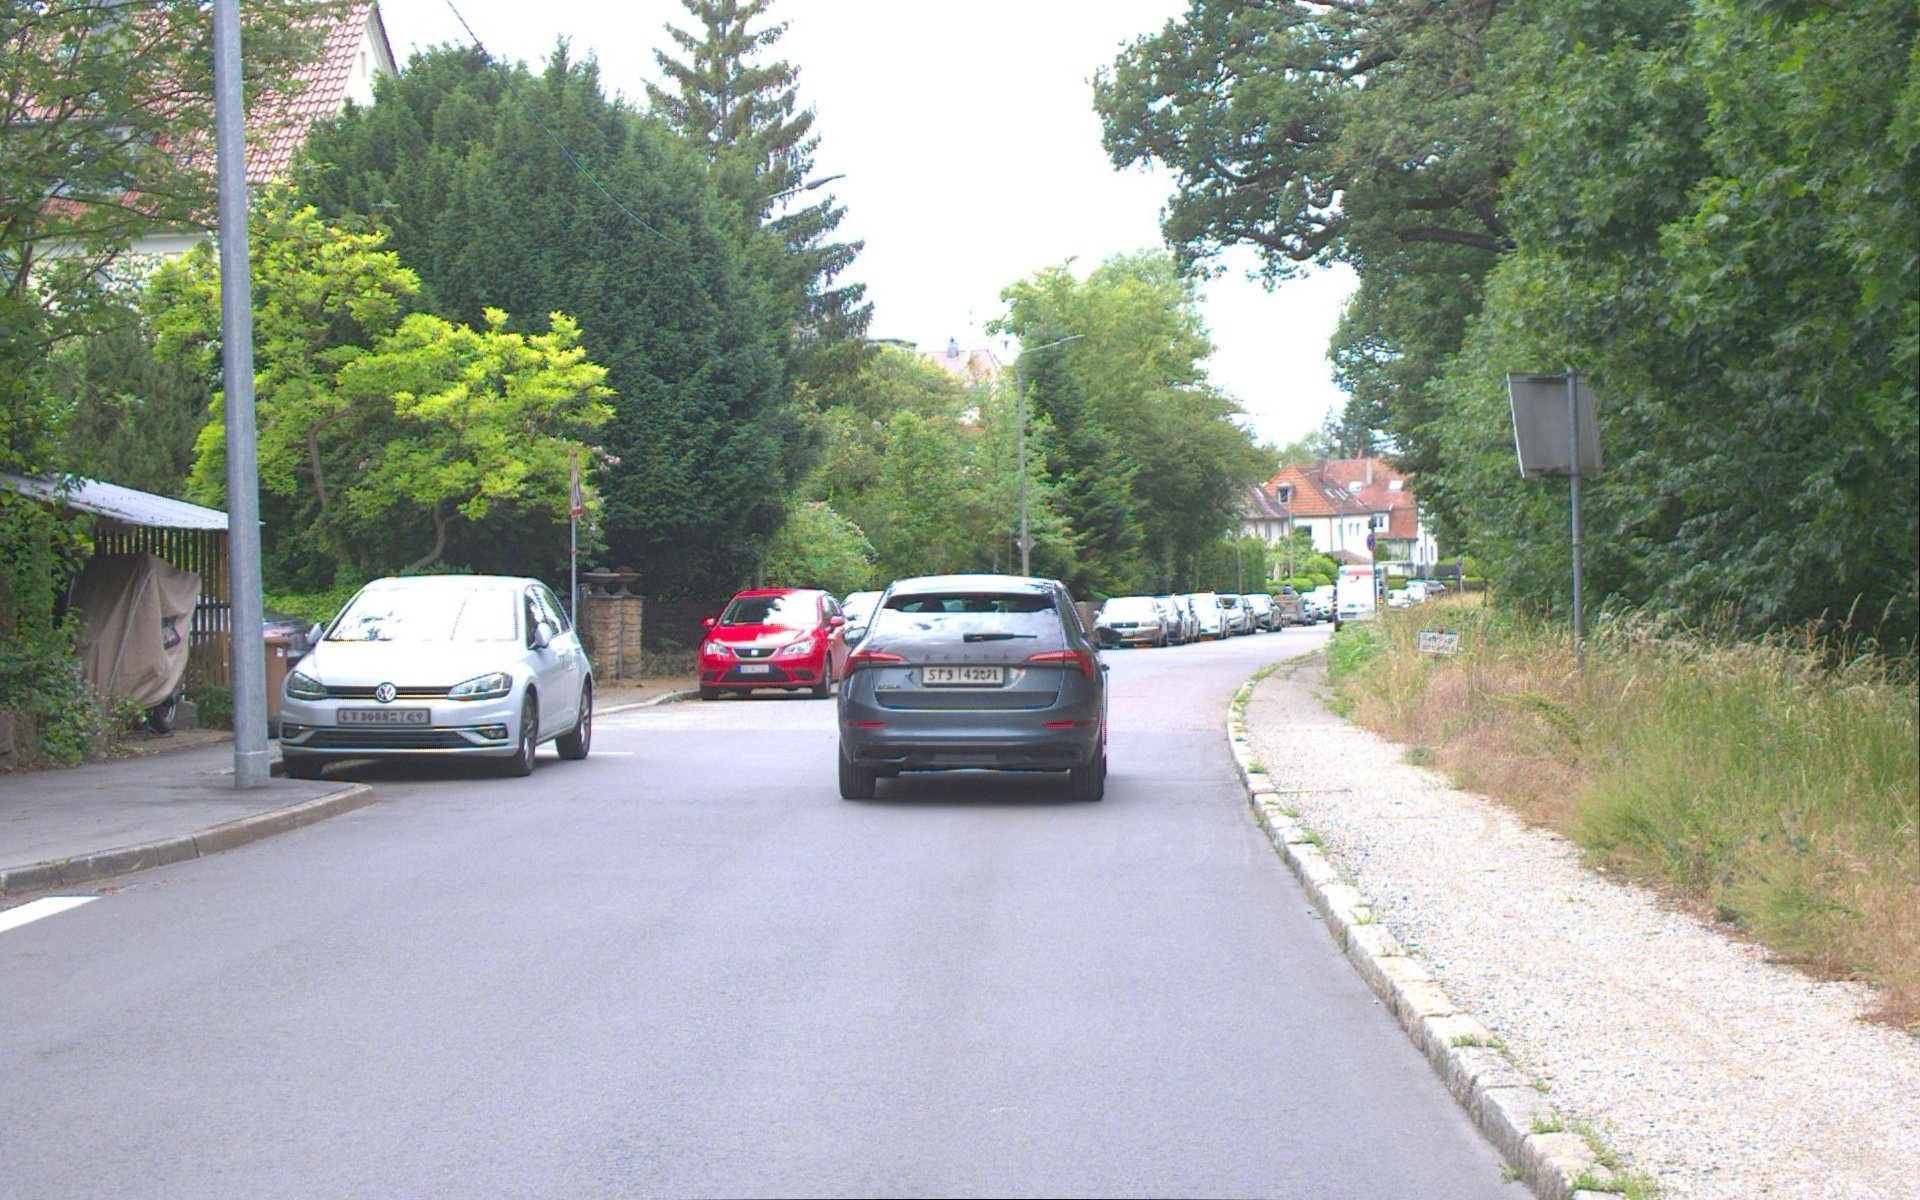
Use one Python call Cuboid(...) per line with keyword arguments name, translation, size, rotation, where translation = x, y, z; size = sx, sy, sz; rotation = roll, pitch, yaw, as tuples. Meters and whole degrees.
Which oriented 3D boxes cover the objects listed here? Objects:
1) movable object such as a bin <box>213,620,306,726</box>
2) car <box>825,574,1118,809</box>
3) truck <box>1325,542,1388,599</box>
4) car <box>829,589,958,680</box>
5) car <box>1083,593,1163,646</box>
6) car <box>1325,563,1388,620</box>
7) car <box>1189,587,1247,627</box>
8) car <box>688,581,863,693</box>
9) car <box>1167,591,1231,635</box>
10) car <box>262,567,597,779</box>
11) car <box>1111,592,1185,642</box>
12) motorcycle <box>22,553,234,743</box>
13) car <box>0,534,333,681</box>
Cuboid(name="movable object such as a bin", translation=(-6.182, 0.638, 30.370), size=(0.591, 0.906, 0.700), rotation=(0, 0, 9))
Cuboid(name="car", translation=(0.164, 0.553, 23.420), size=(1.735, 1.442, 4.180), rotation=(0, 0, 4))
Cuboid(name="truck", translation=(19.906, -1.483, 172.190), size=(2.764, 2.784, 9.265), rotation=(0, 1, 9))
Cuboid(name="car", translation=(-1.042, 0.527, 55.634), size=(1.749, 1.400, 3.999), rotation=(0, 0, 4))
Cuboid(name="car", translation=(4.449, 0.518, 93.549), size=(1.749, 1.400, 3.999), rotation=(0, 0, 9))
Cuboid(name="car", translation=(14.751, -0.347, 127.650), size=(2.206, 2.056, 6.133), rotation=(0, 1, 8))
Cuboid(name="car", translation=(9.204, 0.244, 122.570), size=(1.749, 1.400, 3.999), rotation=(0, 0, 9))
Cuboid(name="car", translation=(-2.392, 0.451, 45.373), size=(1.636, 1.400, 3.999), rotation=(0, 0, 7))
Cuboid(name="car", translation=(7.843, 0.413, 112.581), size=(1.749, 1.400, 3.999), rotation=(0, 0, 9))
Cuboid(name="car", translation=(-3.902, 0.494, 25.920), size=(1.706, 1.463, 4.075), rotation=(0, 0, 3))
Cuboid(name="car", translation=(5.475, 0.486, 99.830), size=(1.749, 1.400, 3.999), rotation=(0, 0, 9))
Cuboid(name="motorcycle", translation=(-6.811, 0.365, 28.307), size=(0.810, 1.480, 2.895), rotation=(0, 0, 5))
Cuboid(name="car", translation=(-8.888, 0.060, 35.284), size=(4.482, 1.436, 1.878), rotation=(0, 0, 6))
